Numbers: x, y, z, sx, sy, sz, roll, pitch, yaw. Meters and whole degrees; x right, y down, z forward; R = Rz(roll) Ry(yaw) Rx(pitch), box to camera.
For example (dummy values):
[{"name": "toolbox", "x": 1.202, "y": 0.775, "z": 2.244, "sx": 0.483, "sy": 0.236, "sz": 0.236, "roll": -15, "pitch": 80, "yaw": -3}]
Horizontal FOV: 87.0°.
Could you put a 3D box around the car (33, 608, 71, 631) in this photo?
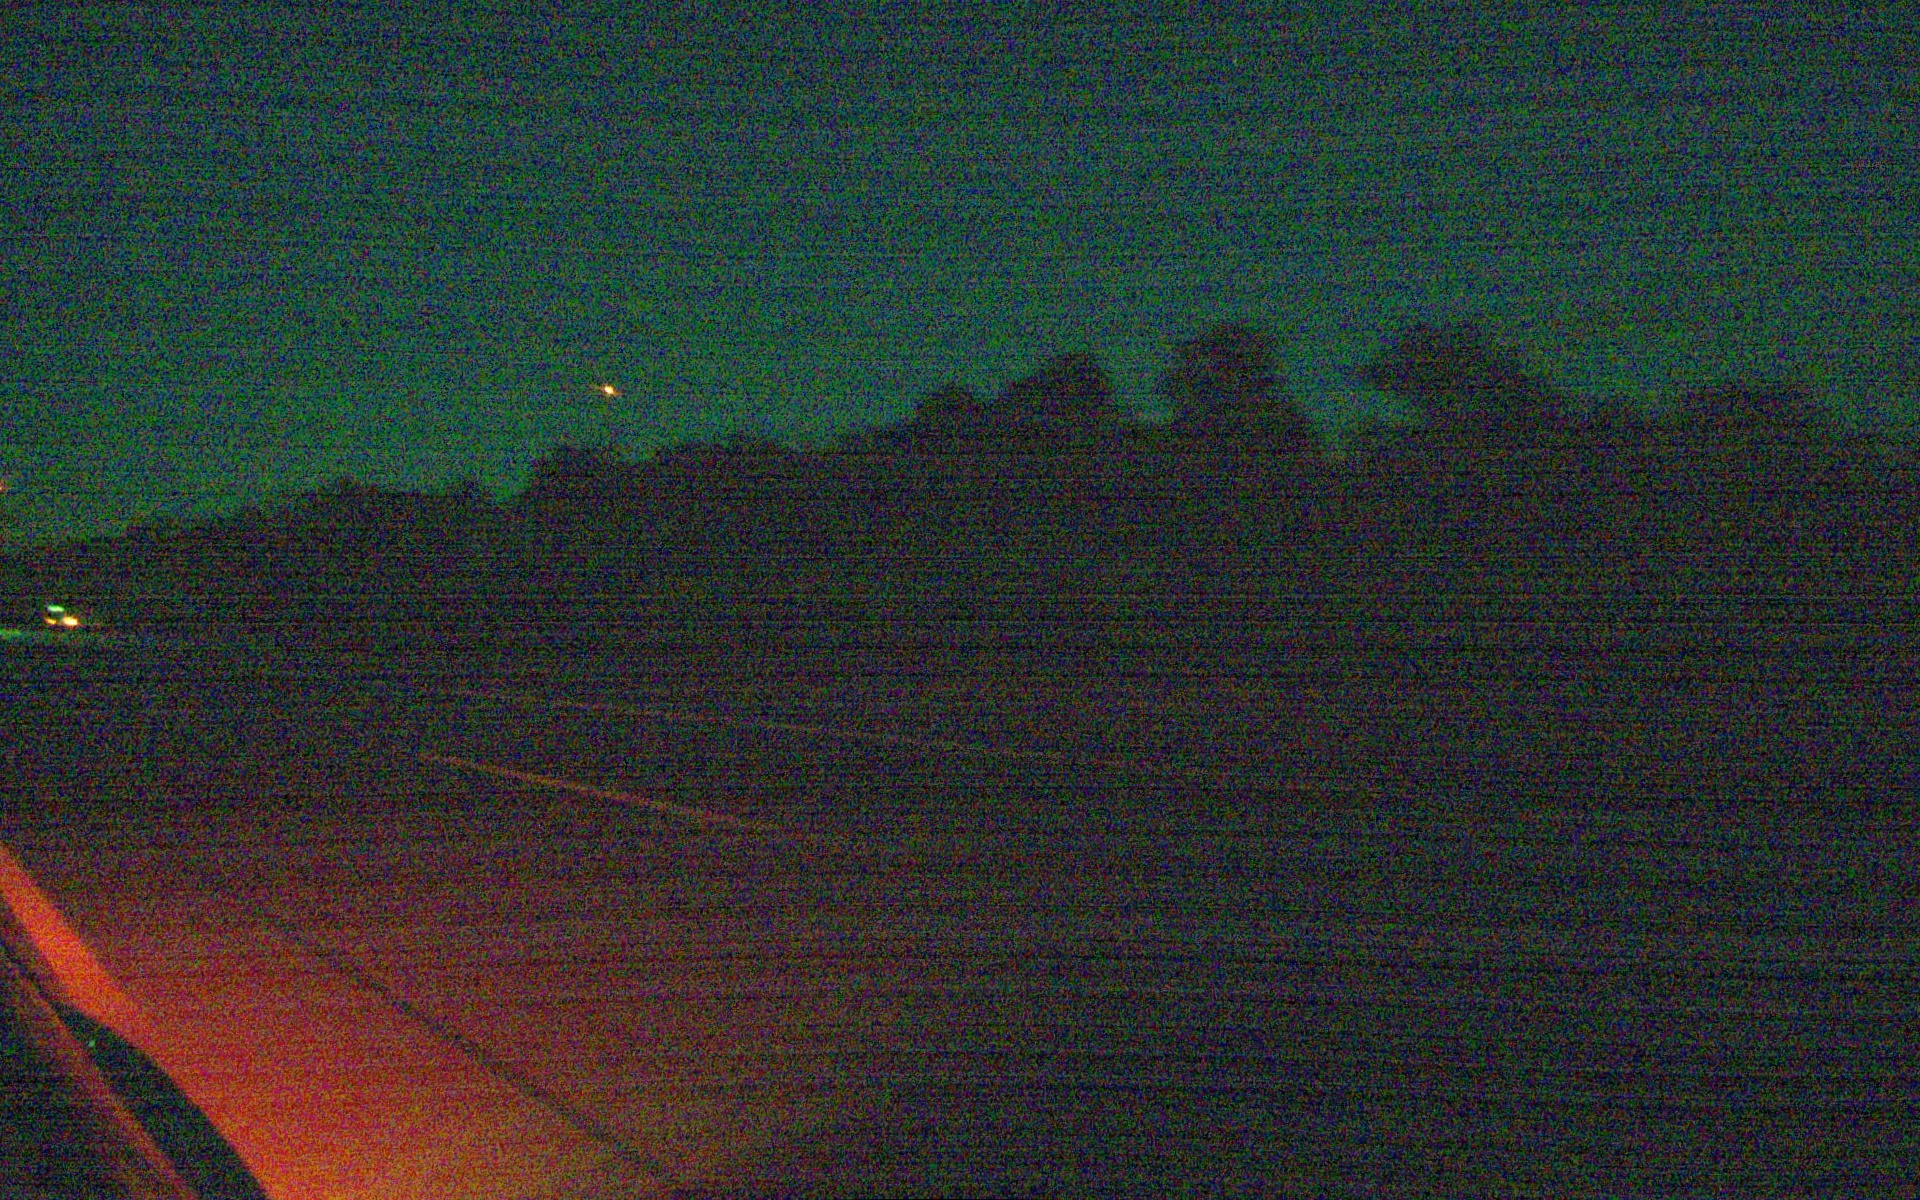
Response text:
[{"name": "car", "x": -105.889, "y": 2.246, "z": 118.023, "sx": 6.665, "sy": 2.470, "sz": 2.367, "roll": 0, "pitch": 0, "yaw": 40}]
